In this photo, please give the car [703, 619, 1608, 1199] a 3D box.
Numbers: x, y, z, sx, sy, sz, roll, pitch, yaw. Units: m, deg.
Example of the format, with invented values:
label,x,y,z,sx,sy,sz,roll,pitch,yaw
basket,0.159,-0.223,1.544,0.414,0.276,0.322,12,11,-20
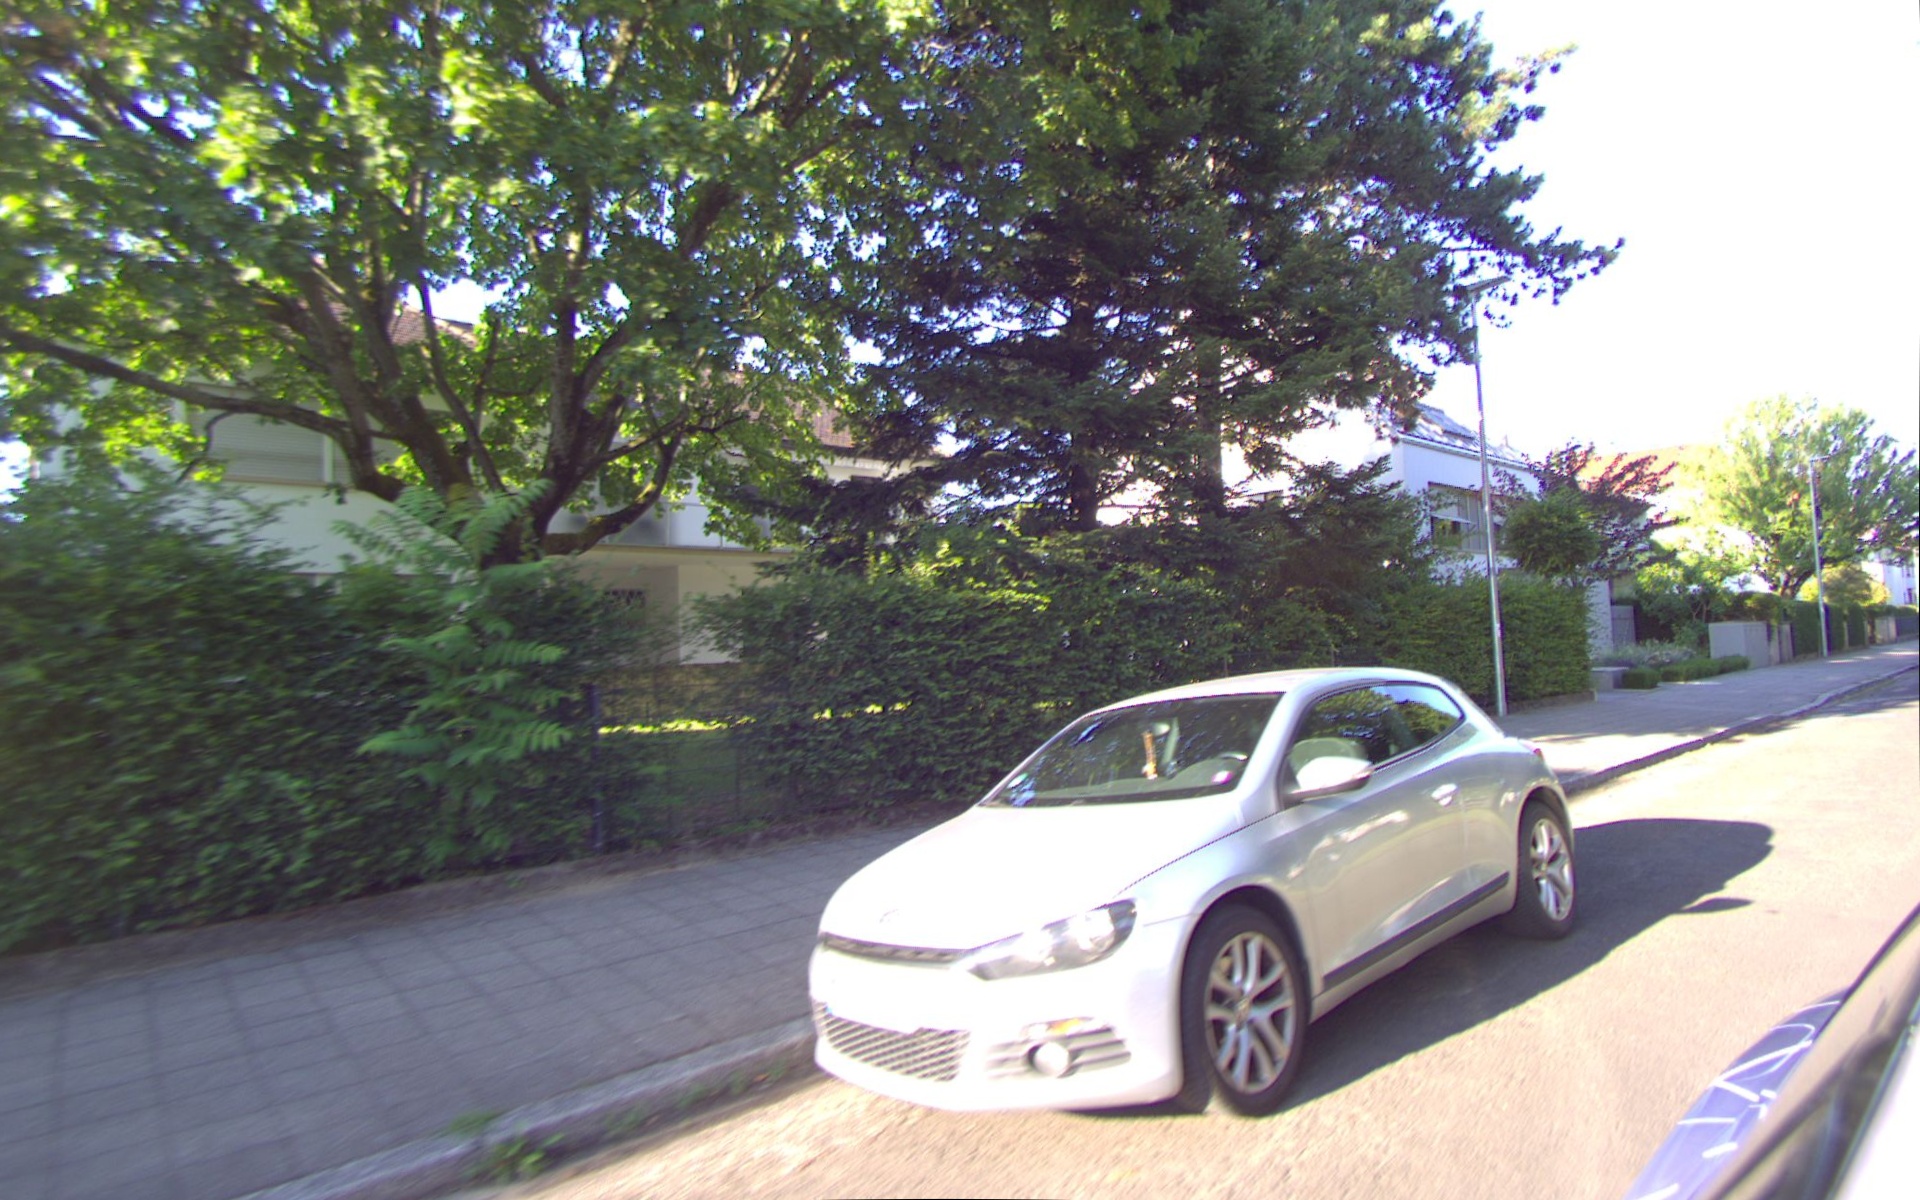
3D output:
label,x,y,z,sx,sy,sz,roll,pitch,yaw
car,1.126,0.976,4.575,4.000,1.439,1.758,-1,-10,-41
